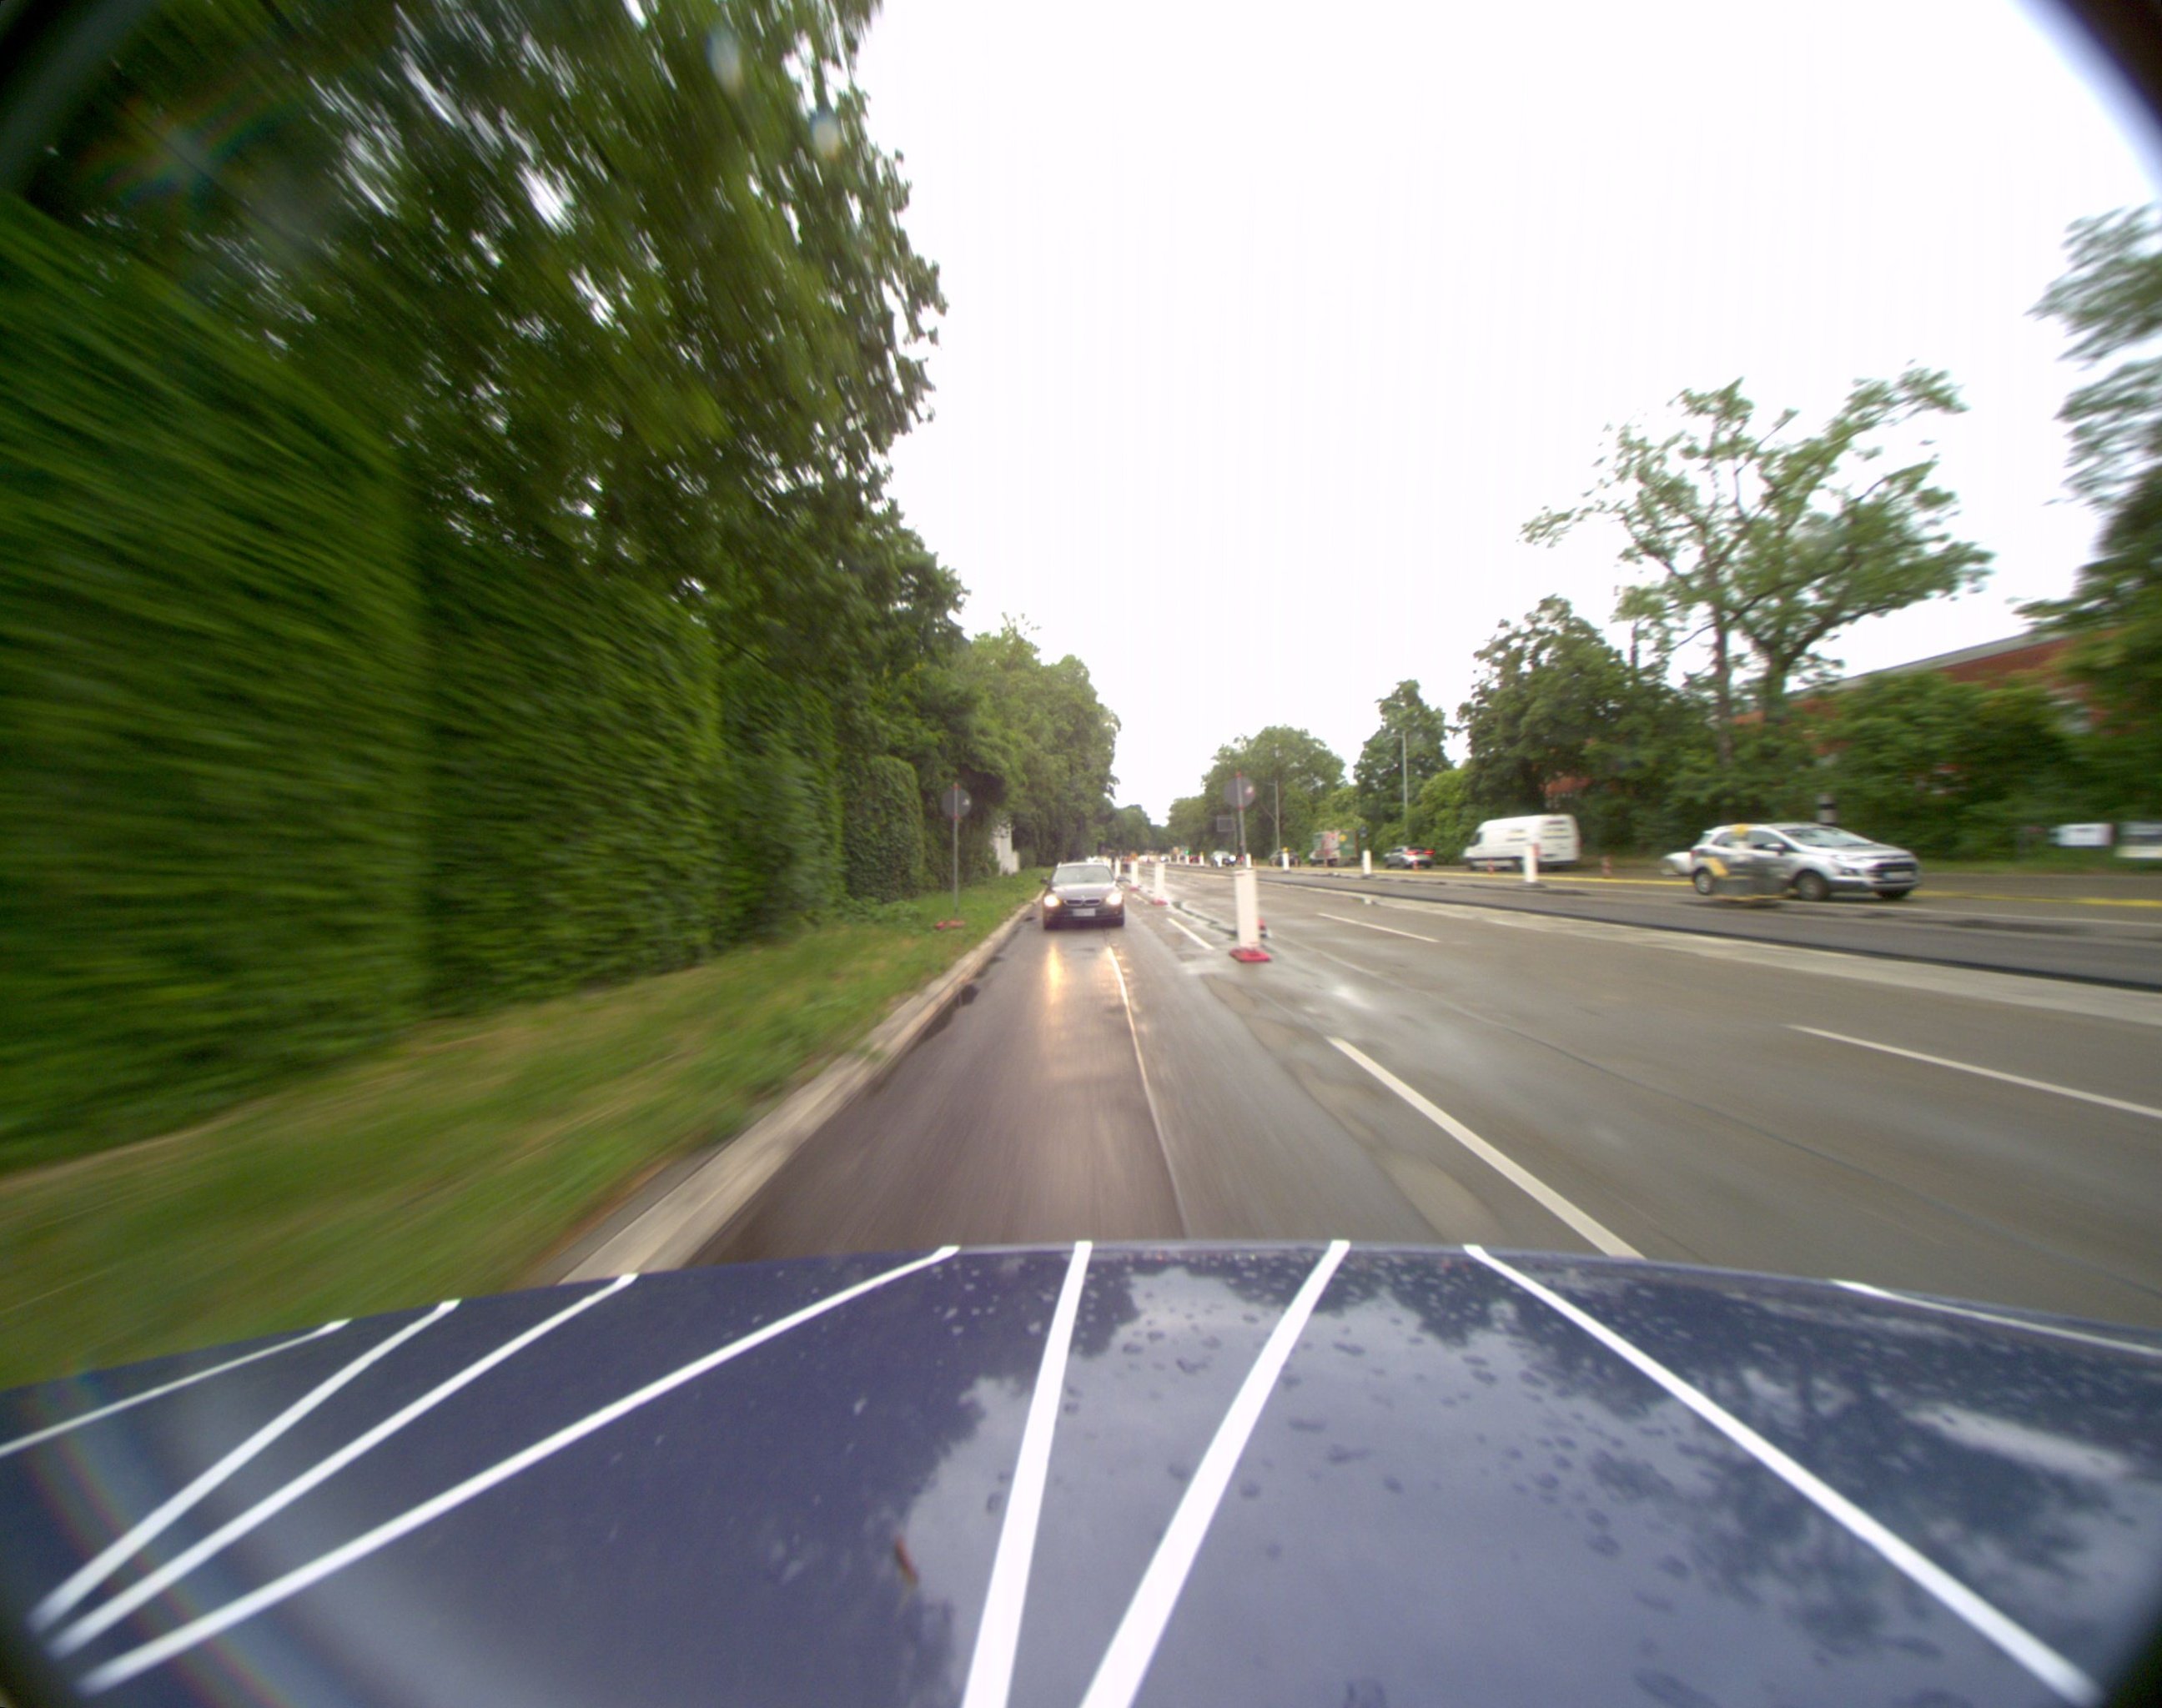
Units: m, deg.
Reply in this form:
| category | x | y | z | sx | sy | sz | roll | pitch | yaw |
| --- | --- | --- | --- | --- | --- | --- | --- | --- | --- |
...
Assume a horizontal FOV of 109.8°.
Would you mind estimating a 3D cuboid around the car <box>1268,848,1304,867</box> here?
| category | x | y | z | sx | sy | sz | roll | pitch | yaw |
| --- | --- | --- | --- | --- | --- | --- | --- | --- | --- |
| car | 18.922 | 0.287 | 70.216 | 1.998 | 1.683 | 4.807 | -1 | 0 | 0 |

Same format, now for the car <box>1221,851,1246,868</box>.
| category | x | y | z | sx | sy | sz | roll | pitch | yaw |
| --- | --- | --- | --- | --- | --- | --- | --- | --- | --- |
| car | 16.483 | 0.575 | 82.295 | 1.998 | 1.619 | 4.813 | -3 | 0 | 4 |

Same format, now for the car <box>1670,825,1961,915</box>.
| category | x | y | z | sx | sy | sz | roll | pitch | yaw |
| --- | --- | --- | --- | --- | --- | --- | --- | --- | --- |
| car | 15.378 | 0.307 | 16.336 | 1.894 | 1.555 | 4.363 | -3 | 0 | -2 |

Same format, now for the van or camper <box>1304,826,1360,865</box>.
| category | x | y | z | sx | sy | sz | roll | pitch | yaw |
| --- | --- | --- | --- | --- | --- | --- | --- | --- | --- |
| van or camper | 21.497 | -0.689 | 65.528 | 2.303 | 3.045 | 7.451 | -2 | 0 | 0 |

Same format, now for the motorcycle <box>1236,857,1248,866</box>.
| category | x | y | z | sx | sy | sz | roll | pitch | yaw |
| --- | --- | --- | --- | --- | --- | --- | --- | --- | --- |
| motorcycle | 18.325 | 0.848 | 86.656 | 0.810 | 0.983 | 2.593 | -4 | 0 | 0 |

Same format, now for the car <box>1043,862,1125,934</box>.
| category | x | y | z | sx | sy | sz | roll | pitch | yaw |
| --- | --- | --- | --- | --- | --- | --- | --- | --- | --- |
| car | 0.072 | 0.936 | 17.832 | 1.658 | 1.409 | 4.129 | -1 | 0 | 0 |

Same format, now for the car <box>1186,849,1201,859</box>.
| category | x | y | z | sx | sy | sz | roll | pitch | yaw |
| --- | --- | --- | --- | --- | --- | --- | --- | --- | --- |
| car | 19.564 | 0.029 | 131.782 | 1.893 | 1.543 | 4.398 | -2 | 0 | 0 |

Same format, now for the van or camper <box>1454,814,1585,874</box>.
| category | x | y | z | sx | sy | sz | roll | pitch | yaw |
| --- | --- | --- | --- | --- | --- | --- | --- | --- | --- |
| van or camper | 21.269 | -0.431 | 37.424 | 1.998 | 2.540 | 7.730 | -4 | 0 | 1 |

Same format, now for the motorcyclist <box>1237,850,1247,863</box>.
| category | x | y | z | sx | sy | sz | roll | pitch | yaw |
| --- | --- | --- | --- | --- | --- | --- | --- | --- | --- |
| motorcyclist | 18.276 | 0.324 | 86.368 | 0.816 | 1.402 | 0.975 | -4 | 0 | 0 |

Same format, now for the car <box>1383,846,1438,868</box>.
| category | x | y | z | sx | sy | sz | roll | pitch | yaw |
| --- | --- | --- | --- | --- | --- | --- | --- | --- | --- |
| car | 21.020 | 0.185 | 48.689 | 1.720 | 1.357 | 4.081 | -1 | 0 | 0 |

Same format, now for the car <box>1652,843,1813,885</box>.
| category | x | y | z | sx | sy | sz | roll | pitch | yaw |
| --- | --- | --- | --- | --- | --- | --- | --- | --- | --- |
| car | 21.227 | 0.297 | 24.999 | 1.693 | 1.176 | 3.999 | -4 | 0 | -2 |

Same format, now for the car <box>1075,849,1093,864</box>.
| category | x | y | z | sx | sy | sz | roll | pitch | yaw |
| --- | --- | --- | --- | --- | --- | --- | --- | --- | --- |
| car | 0.350 | 0.259 | 92.828 | 1.998 | 1.707 | 4.000 | -1 | 0 | 3 |
